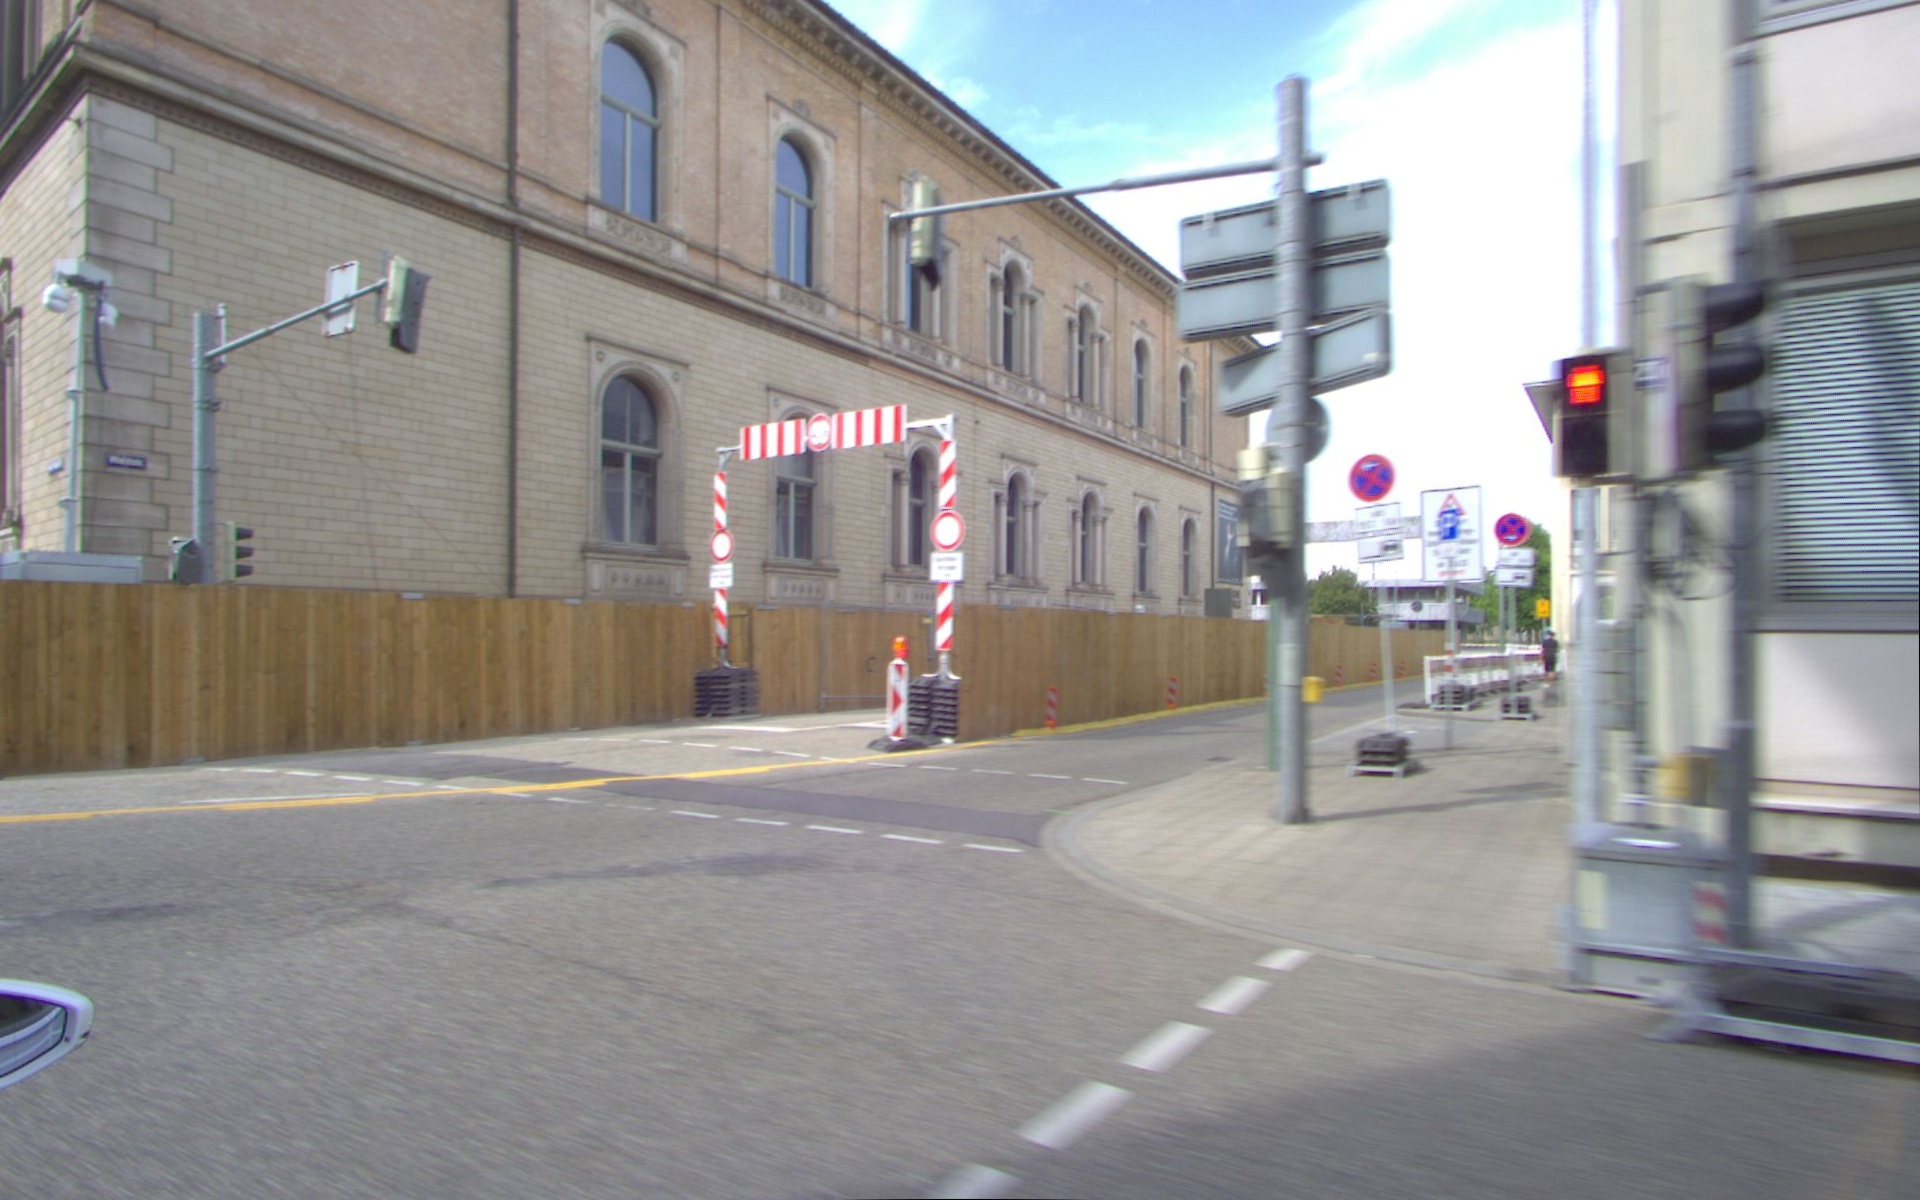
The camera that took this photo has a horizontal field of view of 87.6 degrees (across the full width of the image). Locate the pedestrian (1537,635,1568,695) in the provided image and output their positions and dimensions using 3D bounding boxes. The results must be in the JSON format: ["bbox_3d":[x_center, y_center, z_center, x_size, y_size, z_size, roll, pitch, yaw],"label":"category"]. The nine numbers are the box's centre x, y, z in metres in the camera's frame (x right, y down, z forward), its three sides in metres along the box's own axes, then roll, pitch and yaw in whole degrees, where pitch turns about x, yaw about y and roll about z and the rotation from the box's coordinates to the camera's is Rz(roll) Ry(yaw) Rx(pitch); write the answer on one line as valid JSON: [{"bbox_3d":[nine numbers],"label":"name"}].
[{"bbox_3d":[17.456,1.895,29.489,0.724,1.735,0.843,-1,-1,35],"label":"pedestrian"}]
